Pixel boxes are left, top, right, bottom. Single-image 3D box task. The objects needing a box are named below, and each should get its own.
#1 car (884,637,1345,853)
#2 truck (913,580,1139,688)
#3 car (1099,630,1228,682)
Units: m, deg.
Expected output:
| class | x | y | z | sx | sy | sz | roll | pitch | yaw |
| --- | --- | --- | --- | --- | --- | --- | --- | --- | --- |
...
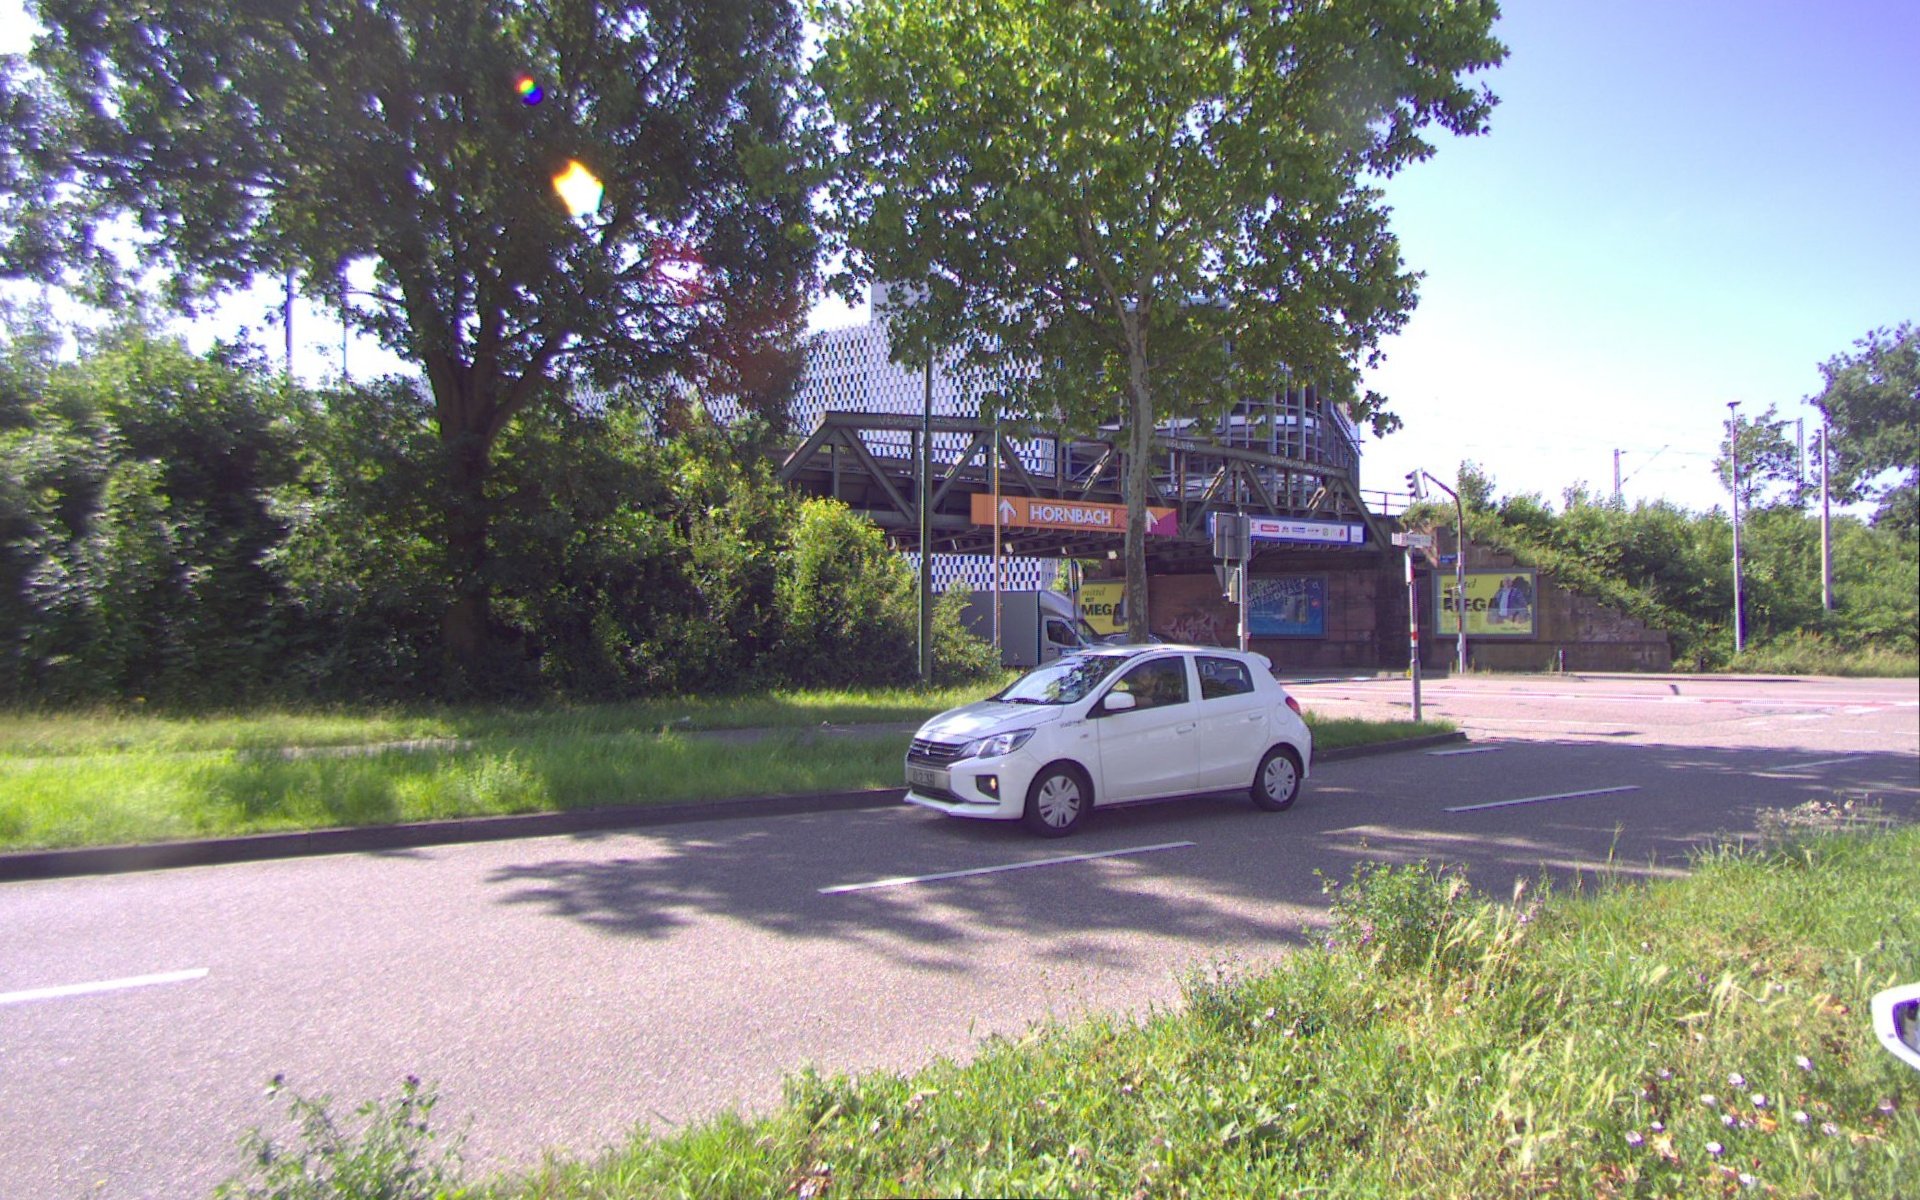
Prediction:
| class | x | y | z | sx | sy | sz | roll | pitch | yaw |
| --- | --- | --- | --- | --- | --- | --- | --- | --- | --- |
| car | 1.450 | 1.116 | 9.045 | 3.953 | 1.528 | 1.692 | 1 | -2 | -30 |
| truck | 2.014 | 1.118 | 31.729 | 6.739 | 3.146 | 2.216 | -2 | -2 | 27 |
| car | 6.943 | 1.891 | 34.224 | 3.926 | 1.668 | 1.902 | -2 | -2 | 27 |
